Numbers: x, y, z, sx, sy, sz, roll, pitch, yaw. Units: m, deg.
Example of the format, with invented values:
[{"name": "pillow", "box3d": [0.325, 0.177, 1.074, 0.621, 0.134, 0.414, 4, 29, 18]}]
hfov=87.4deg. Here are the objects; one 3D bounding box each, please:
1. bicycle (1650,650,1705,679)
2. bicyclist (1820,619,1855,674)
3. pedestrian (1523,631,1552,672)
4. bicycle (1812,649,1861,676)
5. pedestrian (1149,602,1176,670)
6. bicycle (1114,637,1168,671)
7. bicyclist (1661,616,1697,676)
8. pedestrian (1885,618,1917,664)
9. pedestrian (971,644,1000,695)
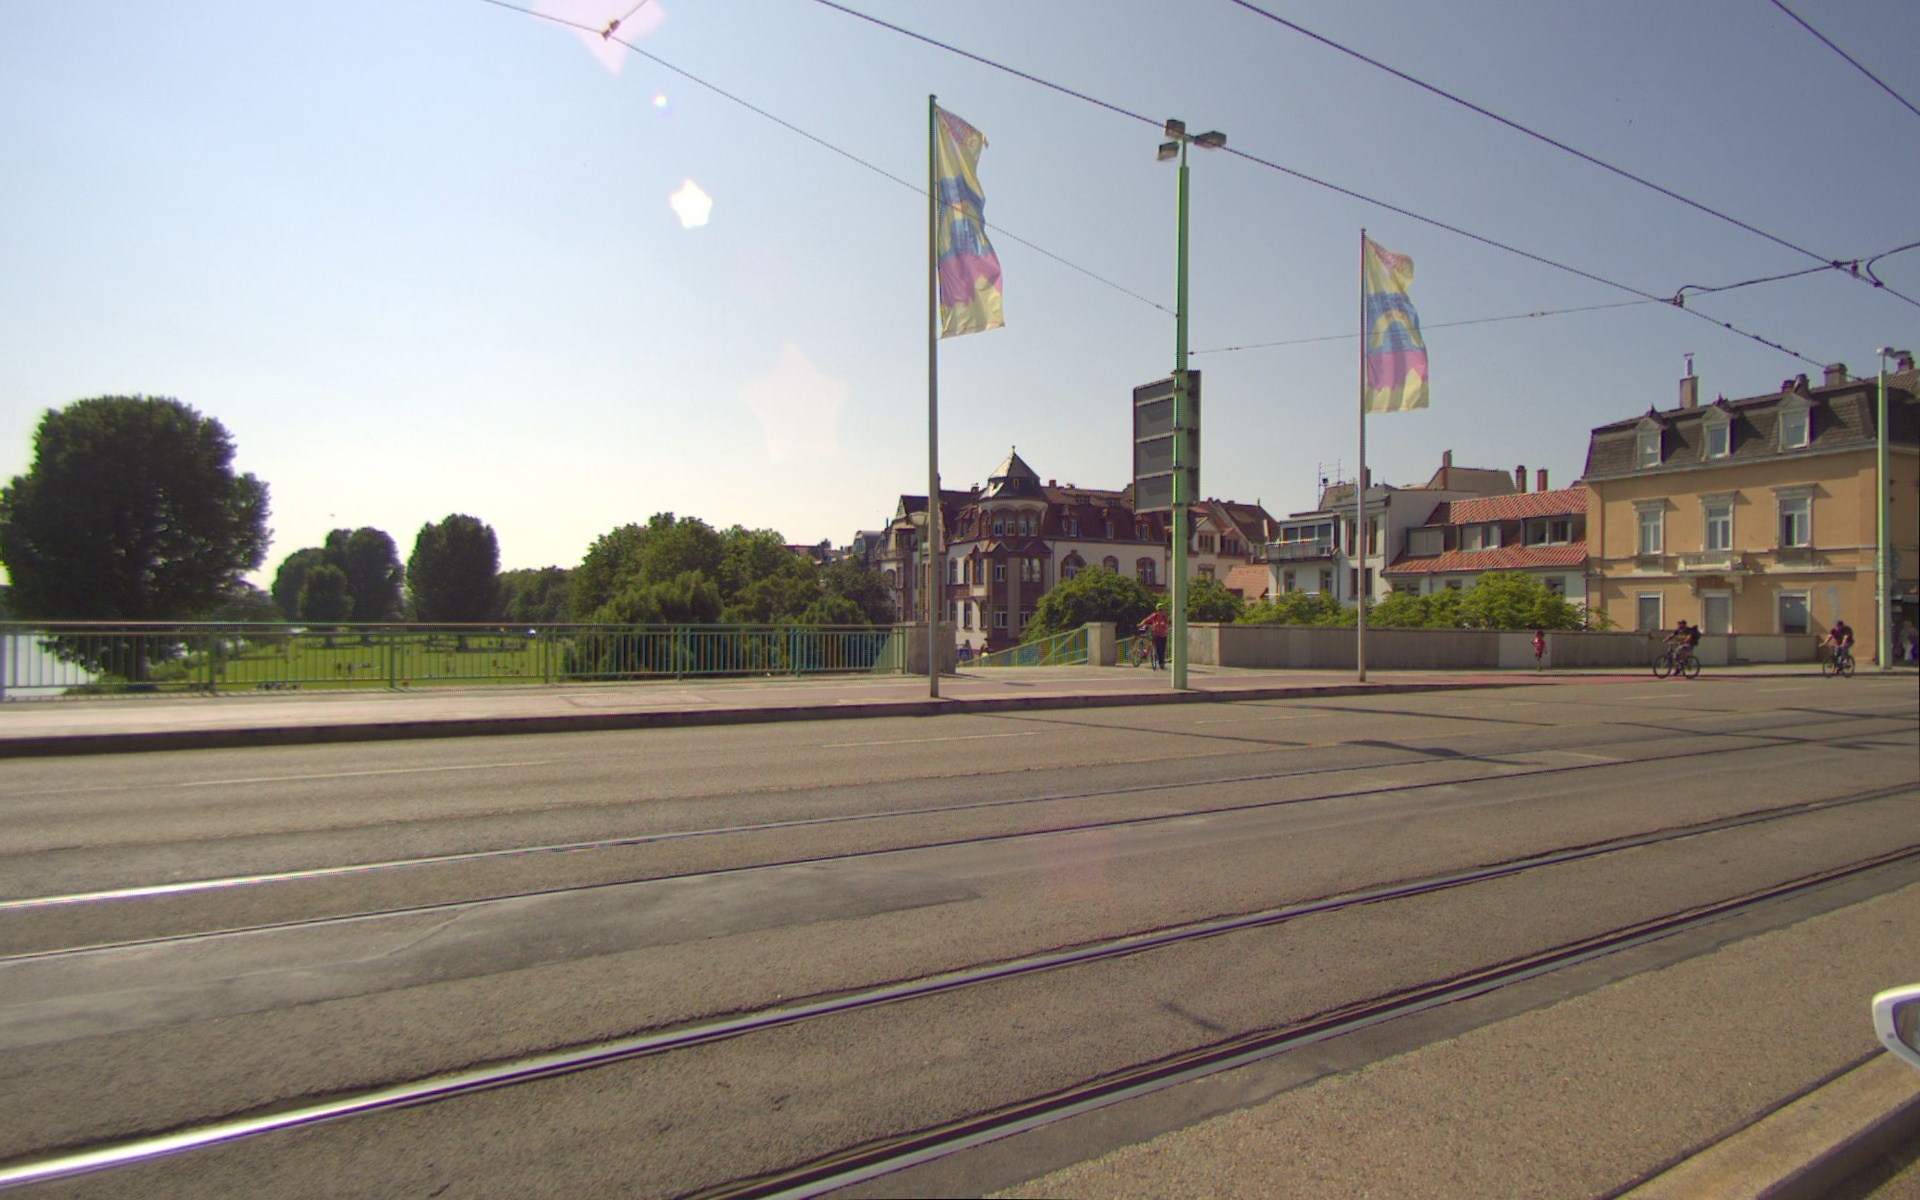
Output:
[{"name": "bicycle", "box3d": [20.722, 1.856, 28.987, 1.750, 0.726, 0.617, 0, 1, -30]}, {"name": "bicyclist", "box3d": [27.141, 1.424, 31.064, 0.614, 1.672, 0.624, 0, 2, -29]}, {"name": "pedestrian", "box3d": [17.144, 1.523, 29.827, 0.536, 1.161, 0.411, 2, 3, -20]}, {"name": "bicycle", "box3d": [27.146, 1.924, 31.101, 1.711, 0.726, 0.617, 0, 1, -30]}, {"name": "pedestrian", "box3d": [5.050, 0.897, 25.060, 0.406, 1.654, 0.626, 1, 1, -13]}, {"name": "bicycle", "box3d": [4.500, 1.333, 25.106, 0.611, 0.726, 1.928, 1, 1, -13]}, {"name": "bicyclist", "box3d": [20.747, 1.308, 28.990, 0.614, 1.672, 0.624, 0, 2, -29]}, {"name": "pedestrian", "box3d": [35.004, 1.526, 37.375, 0.559, 1.624, 0.646, -1, 5, -29]}, {"name": "pedestrian", "box3d": [0.914, 2.513, 36.303, 0.791, 1.804, 0.743, 1, -1, -25]}]
